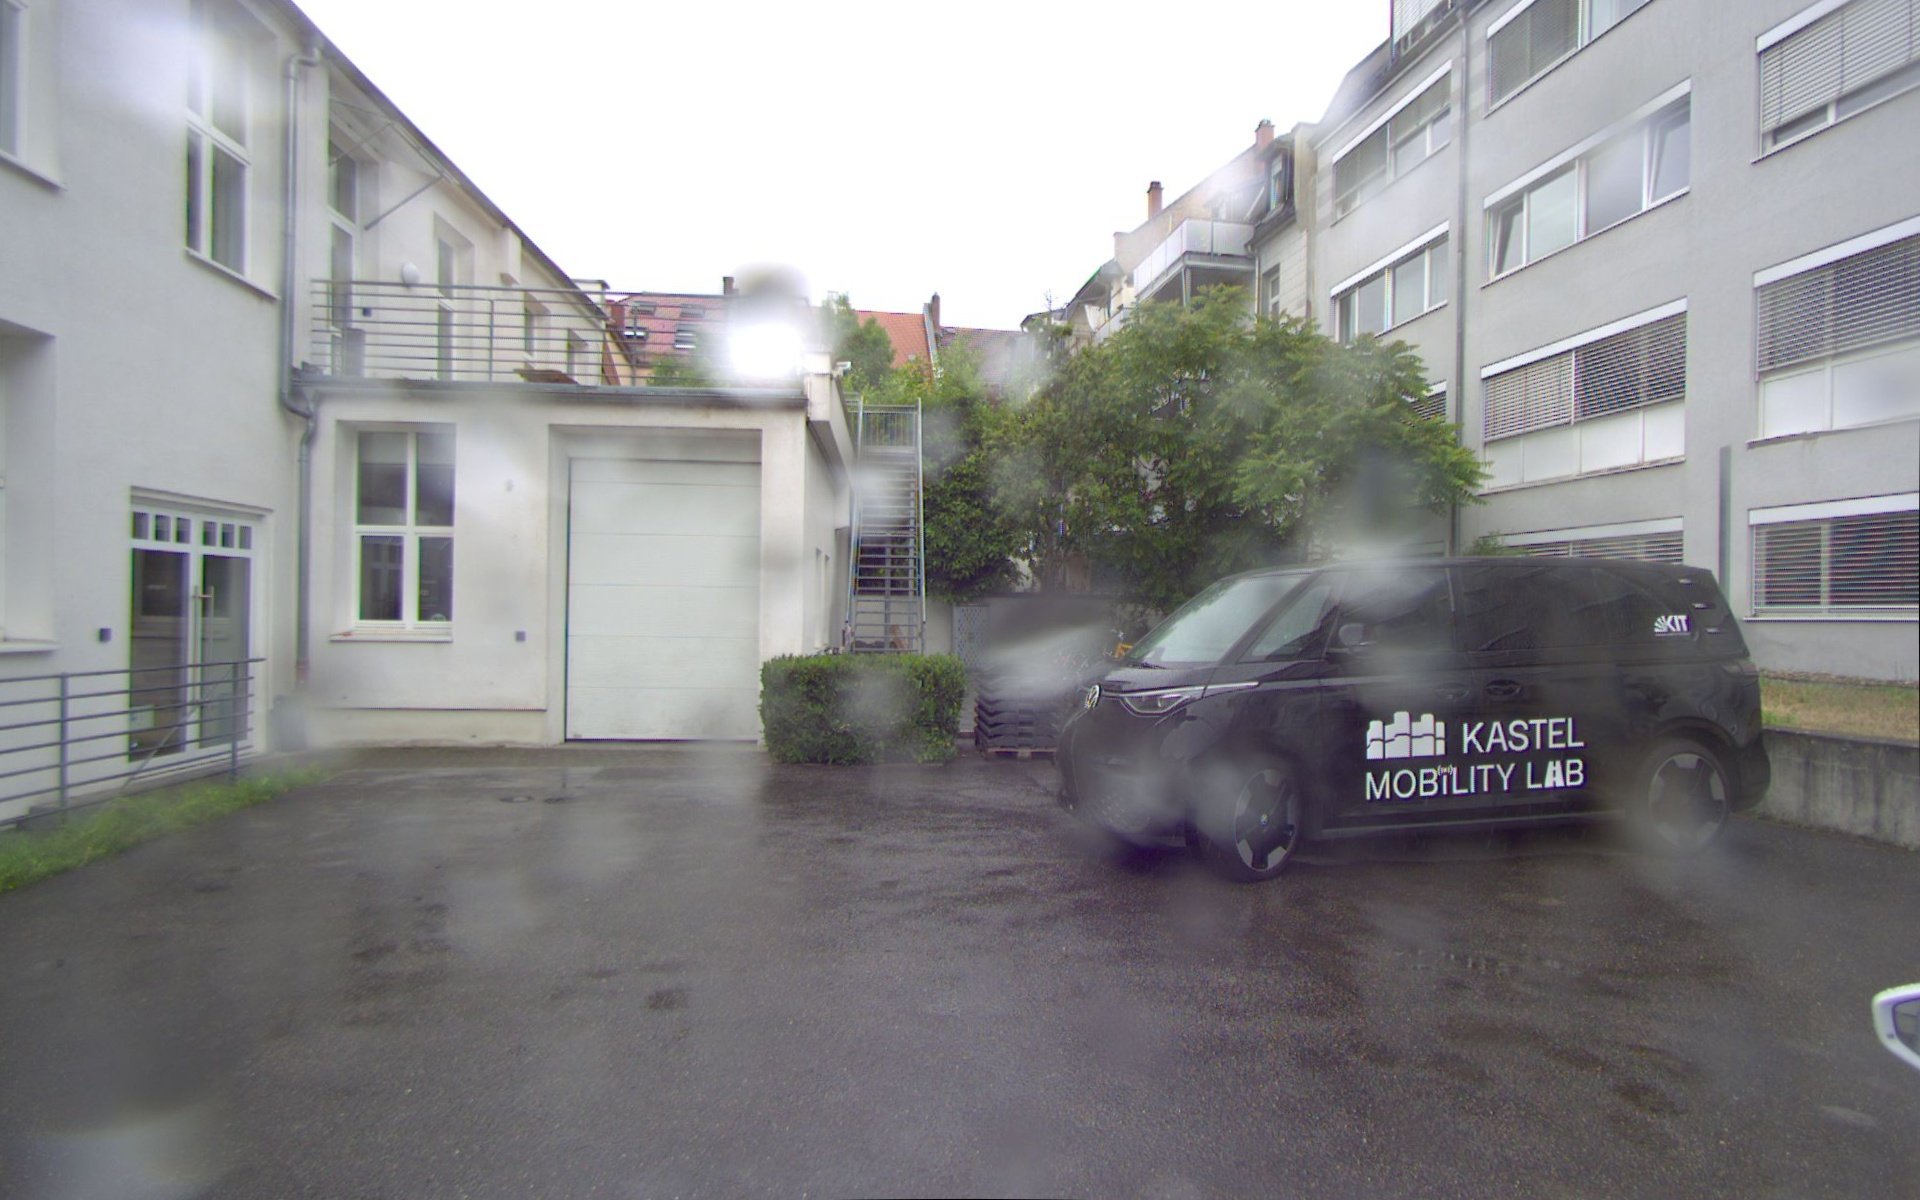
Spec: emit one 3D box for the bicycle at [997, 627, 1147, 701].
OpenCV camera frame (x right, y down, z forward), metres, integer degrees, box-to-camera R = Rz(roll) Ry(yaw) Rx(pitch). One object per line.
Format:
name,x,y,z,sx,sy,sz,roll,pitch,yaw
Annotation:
bicycle,1.769,1.014,16.010,2.291,1.119,0.632,1,0,-5

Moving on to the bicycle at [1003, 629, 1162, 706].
bicycle,1.833,1.013,15.192,2.291,1.119,0.632,1,0,-5

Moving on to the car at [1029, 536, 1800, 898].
car,2.886,0.670,6.820,4.443,1.922,2.042,1,-1,-12

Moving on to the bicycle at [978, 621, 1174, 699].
bicycle,1.916,0.997,16.680,3.164,1.258,0.630,1,-1,-7

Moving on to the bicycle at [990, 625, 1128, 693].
bicycle,1.696,1.015,17.325,2.291,1.119,0.632,1,0,-5

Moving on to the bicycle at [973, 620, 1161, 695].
bicycle,1.844,0.990,17.333,3.164,1.258,0.630,1,-1,-7

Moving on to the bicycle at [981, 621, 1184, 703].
bicycle,1.940,0.986,16.014,3.164,1.258,0.630,1,-1,-7

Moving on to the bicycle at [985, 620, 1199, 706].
bicycle,1.986,0.951,15.227,3.164,1.258,0.630,1,-1,-7

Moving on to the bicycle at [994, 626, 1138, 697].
bicycle,1.745,1.015,16.671,2.291,1.119,0.632,1,0,-5
